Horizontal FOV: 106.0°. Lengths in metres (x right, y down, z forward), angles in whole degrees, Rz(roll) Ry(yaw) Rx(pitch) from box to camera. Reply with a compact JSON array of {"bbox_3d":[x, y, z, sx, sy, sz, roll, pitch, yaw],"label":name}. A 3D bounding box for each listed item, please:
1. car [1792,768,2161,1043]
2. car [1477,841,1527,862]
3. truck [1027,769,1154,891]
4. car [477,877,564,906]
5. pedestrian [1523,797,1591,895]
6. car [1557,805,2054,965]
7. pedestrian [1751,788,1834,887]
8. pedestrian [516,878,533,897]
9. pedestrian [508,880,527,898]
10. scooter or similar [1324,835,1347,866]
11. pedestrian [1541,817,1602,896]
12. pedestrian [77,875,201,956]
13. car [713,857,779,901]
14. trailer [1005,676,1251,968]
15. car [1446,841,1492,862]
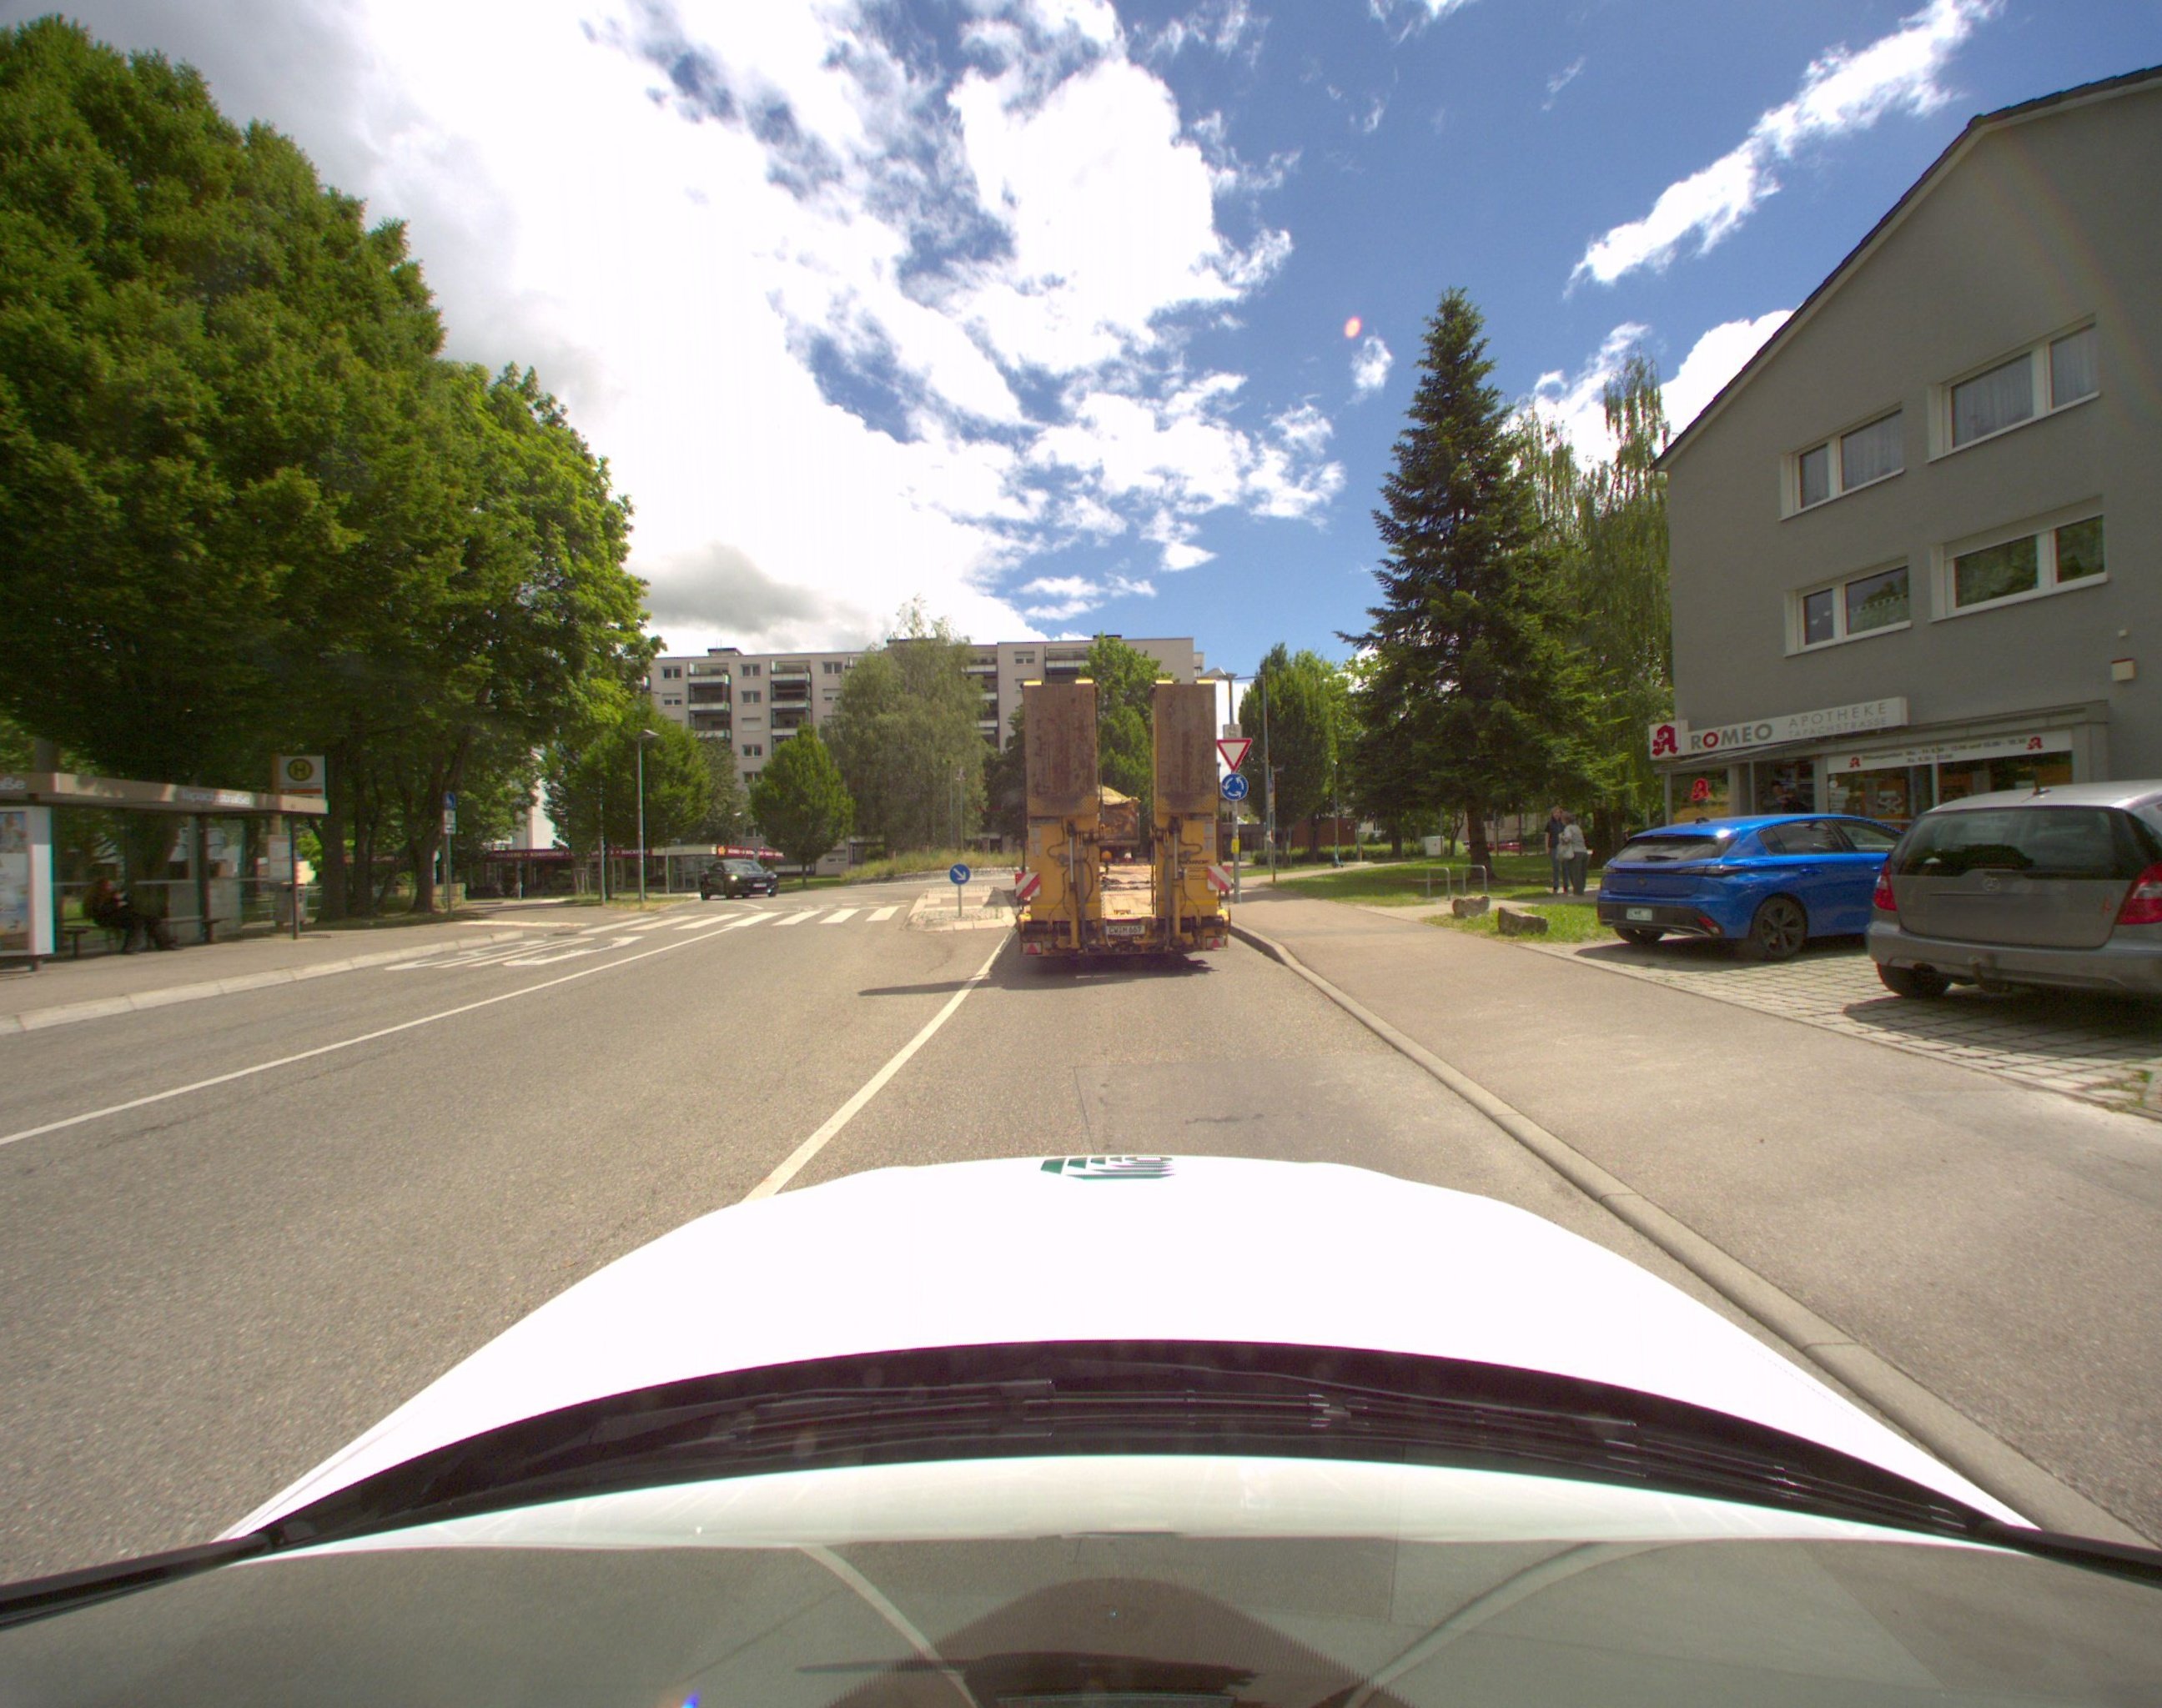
[{"bbox_3d":[7.814,0.168,5.960,3.730,1.556,2.024,-4,1,-11],"label":"car"},{"bbox_3d":[39.477,-0.229,76.432,2.015,1.941,3.980,0,0,-15],"label":"car"},{"bbox_3d":[-0.022,-0.732,24.591,2.983,3.034,8.472,-1,2,-5],"label":"truck"},{"bbox_3d":[-31.433,2.102,45.693,4.561,1.383,1.834,-2,0,24],"label":"car"},{"bbox_3d":[10.176,-0.178,17.434,0.654,2.013,1.042,-2,0,-12],"label":"pedestrian"},{"bbox_3d":[8.157,0.272,9.331,4.487,1.243,1.992,-5,1,-13],"label":"car"},{"bbox_3d":[14.607,-0.341,16.727,0.842,1.956,0.936,-2,0,-19],"label":"pedestrian"},{"bbox_3d":[-42.113,2.520,61.614,0.693,1.380,0.721,-3,0,6],"label":"pedestrian"},{"bbox_3d":[-42.059,2.615,60.756,0.817,1.325,0.880,0,0,-1],"label":"pedestrian"},{"bbox_3d":[11.665,-0.171,37.276,0.480,1.343,1.397,-3,0,38],"label":"scooter or similar"},{"bbox_3d":[9.892,0.051,16.434,0.741,1.529,0.689,-2,0,-8],"label":"pedestrian"},{"bbox_3d":[-14.151,0.902,12.263,0.797,1.135,0.909,-1,0,-7],"label":"pedestrian"},{"bbox_3d":[-13.444,0.964,32.498,2.005,1.525,4.484,-3,0,-27],"label":"car"},{"bbox_3d":[0.487,-0.461,14.896,2.855,3.372,10.837,0,1,-1],"label":"trailer"},{"bbox_3d":[38.400,-0.235,80.661,1.997,1.941,3.980,0,0,-15],"label":"car"}]
